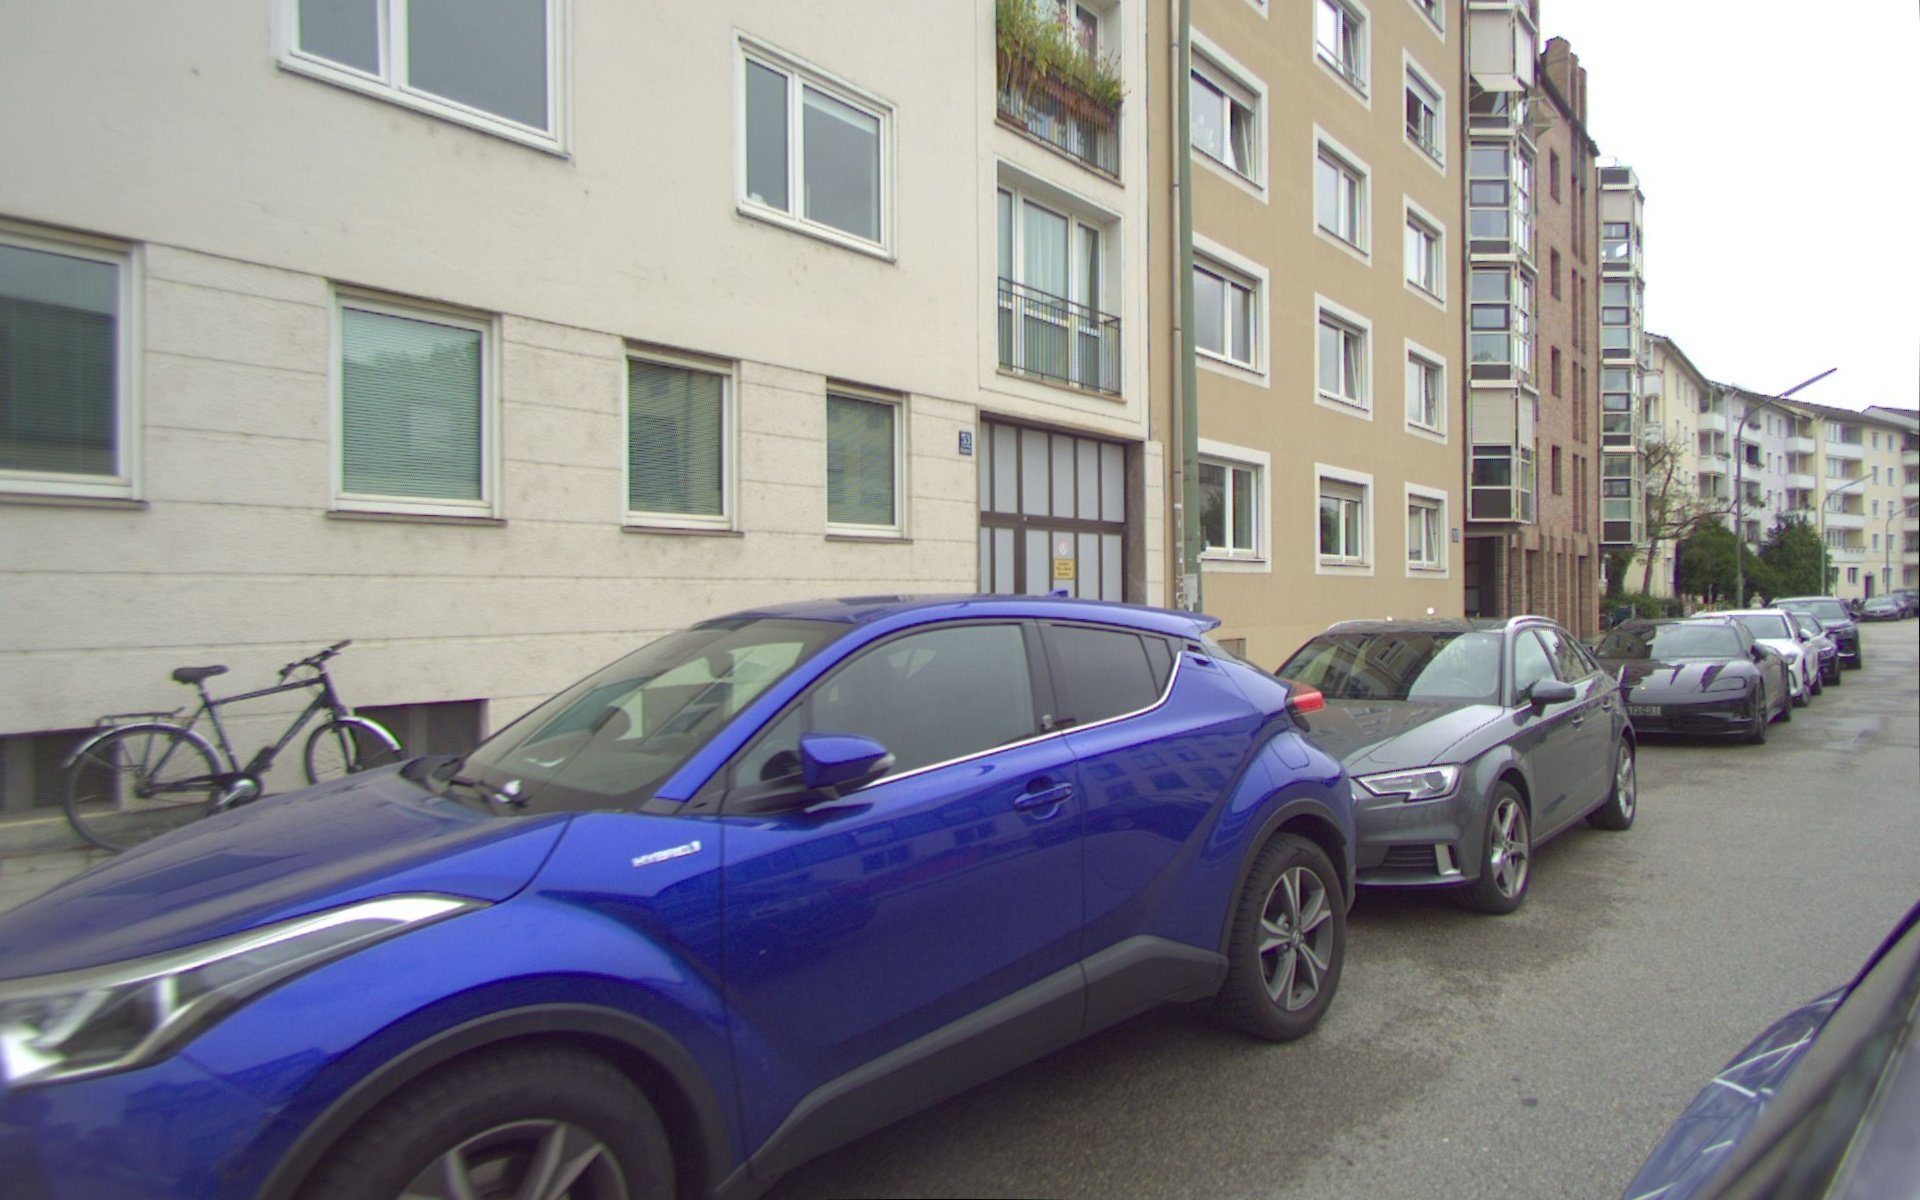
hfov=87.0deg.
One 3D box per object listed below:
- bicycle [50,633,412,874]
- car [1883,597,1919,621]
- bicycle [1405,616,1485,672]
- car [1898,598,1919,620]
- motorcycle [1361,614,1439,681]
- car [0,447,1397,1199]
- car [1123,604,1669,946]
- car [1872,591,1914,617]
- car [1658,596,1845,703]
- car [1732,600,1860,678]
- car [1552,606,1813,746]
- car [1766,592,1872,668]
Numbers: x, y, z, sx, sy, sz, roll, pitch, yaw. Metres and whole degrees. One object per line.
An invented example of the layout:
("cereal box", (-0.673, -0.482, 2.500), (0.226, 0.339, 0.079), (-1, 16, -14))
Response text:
("bicycle", (-4.167, 0.794, 5.872), (0.667, 1.135, 1.625), (0, 0, 45))
("car", (59.632, 0.546, 64.010), (1.750, 1.471, 3.516), (1, 1, 41))
("bicycle", (9.809, 0.855, 20.423), (0.711, 1.031, 2.360), (1, 1, 45))
("car", (63.541, 0.591, 67.026), (3.509, 1.471, 1.754), (0, 1, -42))
("motorcycle", (7.986, 0.835, 18.346), (1.768, 1.140, 0.628), (0, 1, -43))
("car", (-0.482, 0.614, 3.200), (4.126, 1.608, 1.744), (0, -1, -40))
("car", (2.947, 0.740, 6.311), (1.741, 1.414, 4.133), (-1, -1, 45))
("car", (56.298, 0.219, 61.118), (1.750, 1.471, 3.516), (0, 0, 41))
("car", (12.933, 0.683, 16.428), (1.891, 1.481, 4.418), (0, 0, 45))
("car", (16.660, 0.689, 20.101), (1.736, 1.357, 4.101), (0, 0, 43))
("car", (9.046, 0.818, 12.506), (1.890, 1.414, 4.417), (-4, -3, 45))
("car", (20.224, 0.639, 23.769), (1.737, 1.598, 3.774), (1, 1, 43))
